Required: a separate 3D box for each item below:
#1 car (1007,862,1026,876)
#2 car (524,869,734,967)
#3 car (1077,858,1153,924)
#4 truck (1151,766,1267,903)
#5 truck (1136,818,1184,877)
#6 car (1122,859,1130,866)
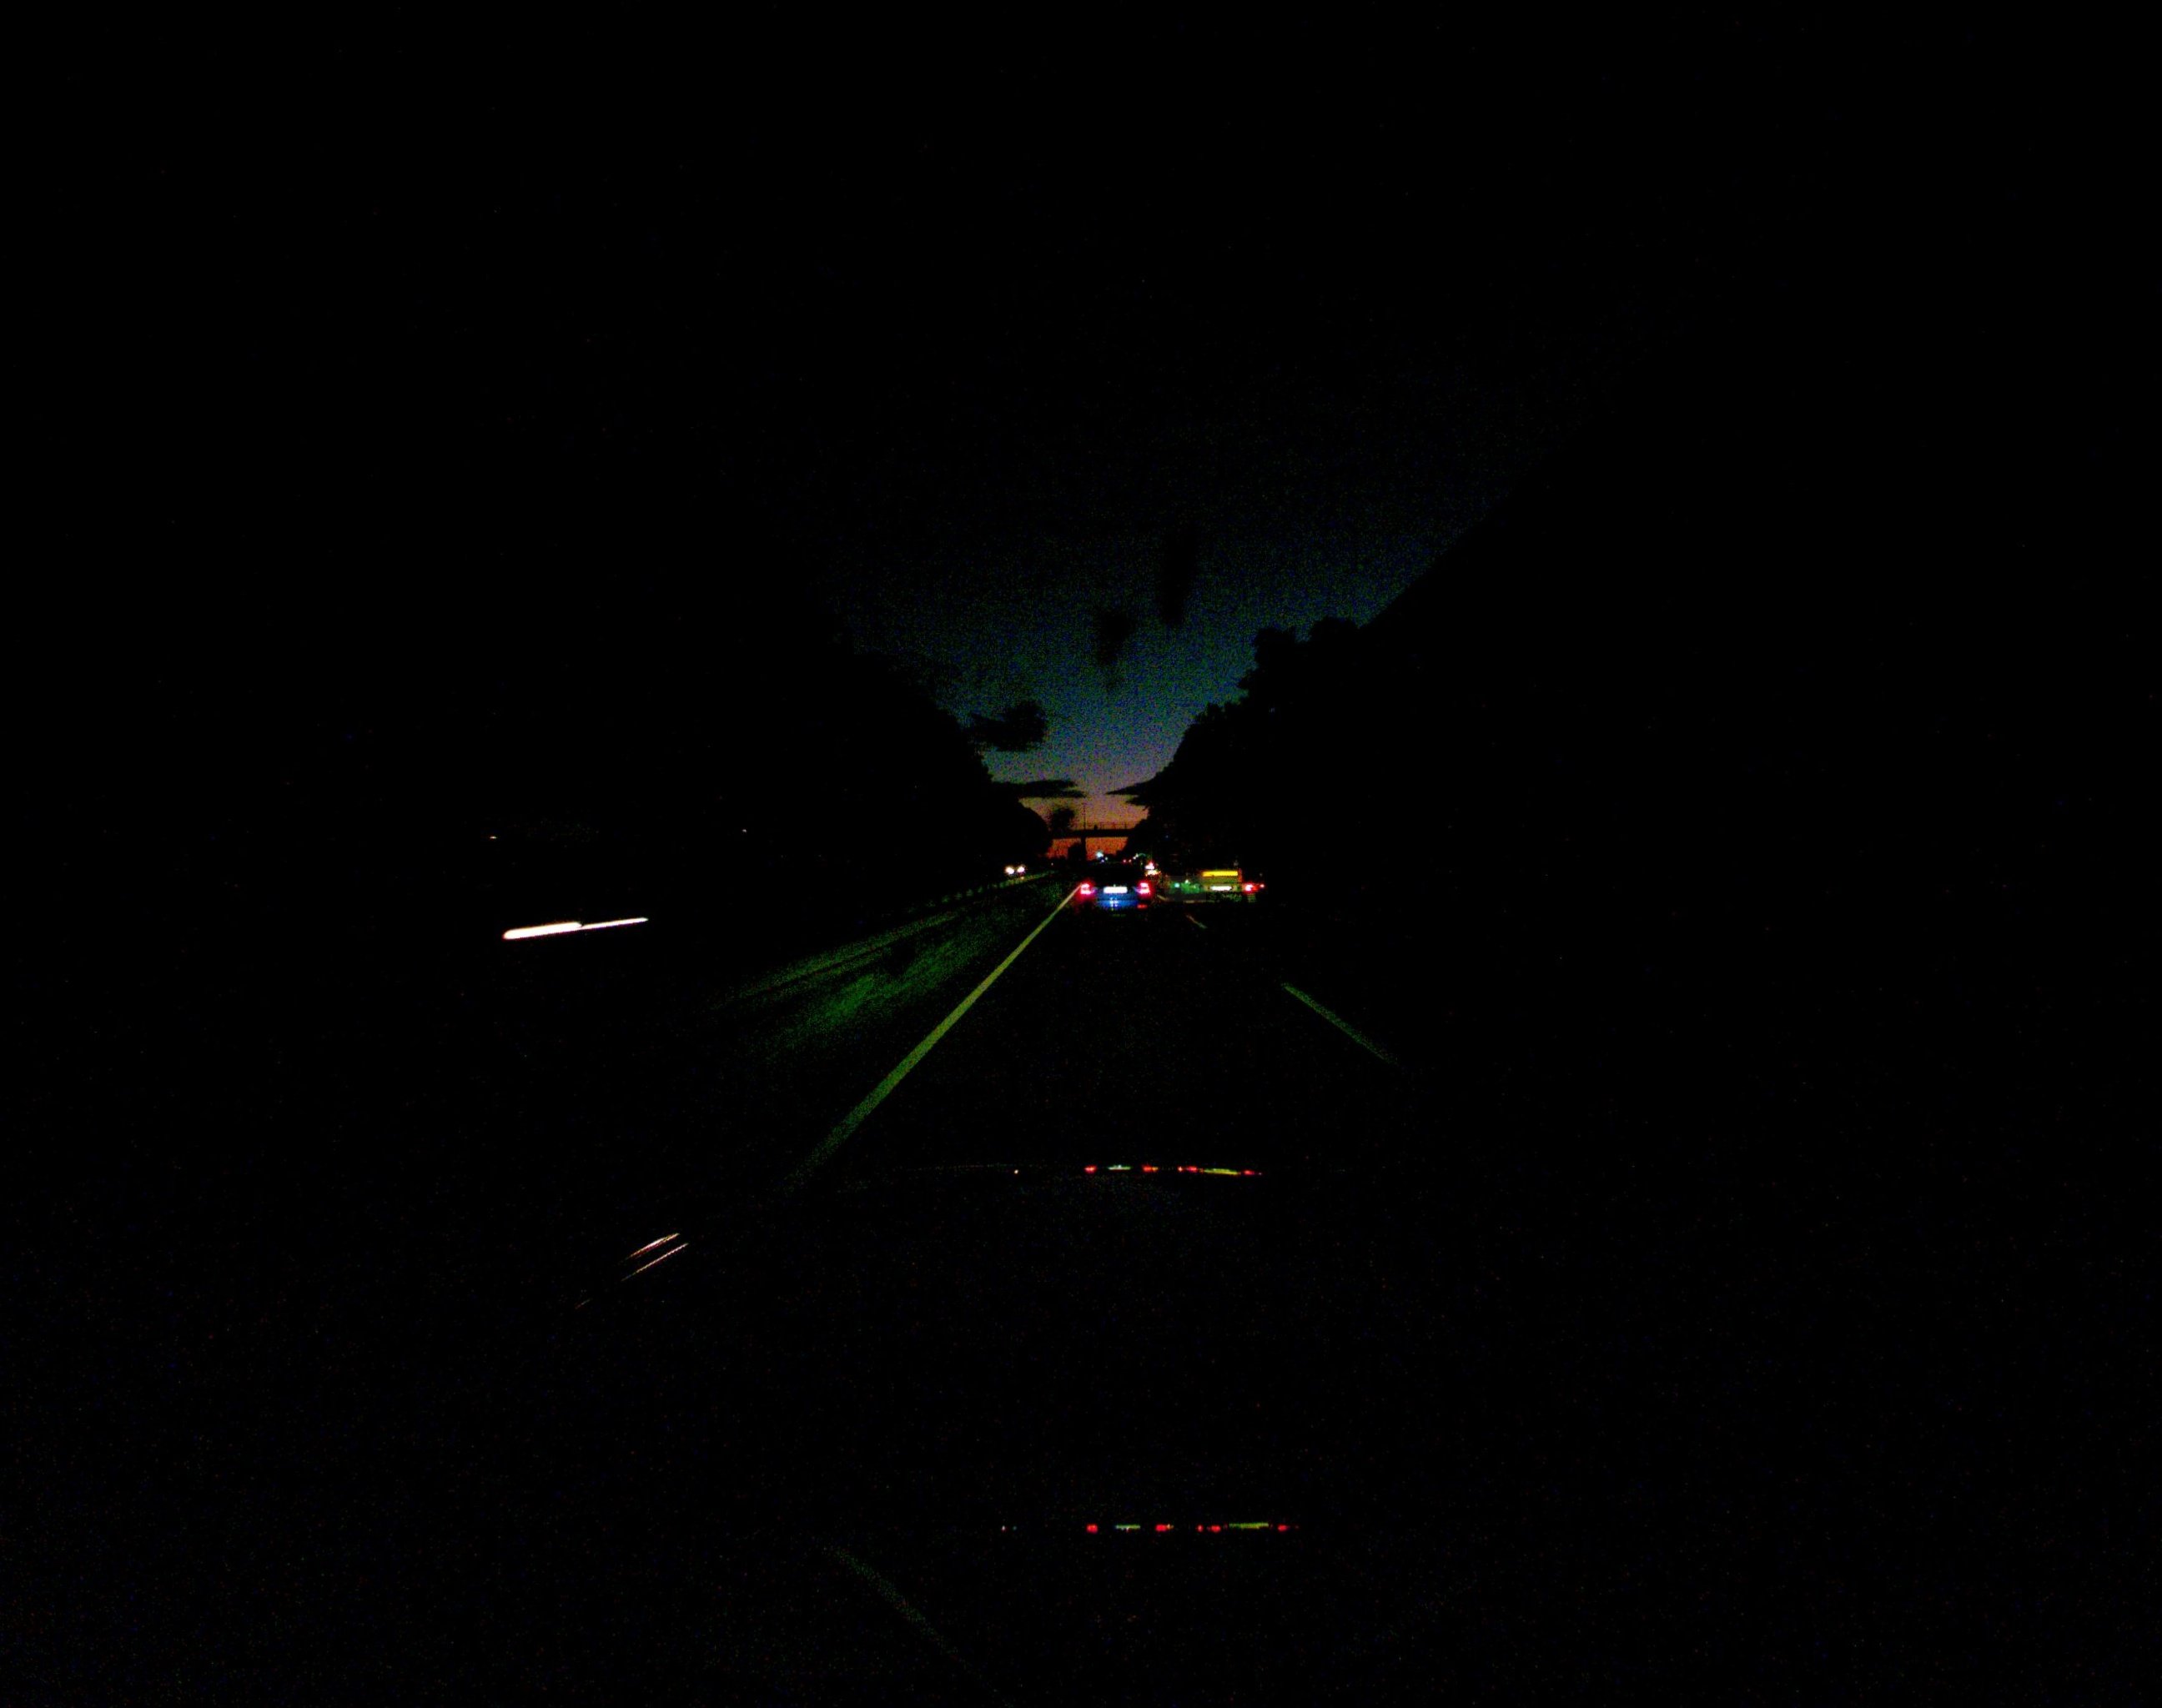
[{"bbox_3d":[-7.154,1.651,90.772,1.611,1.507,3.870,-1,-1,2],"label":"car"},{"bbox_3d":[-8.586,1.122,15.942,1.676,1.587,4.168,-1,0,2],"label":"car"},{"bbox_3d":[0.810,0.848,20.126,1.689,1.452,3.915,-1,-1,2],"label":"car"},{"bbox_3d":[4.424,-0.505,31.050,2.677,4.106,13.145,-1,-1,2],"label":"truck"},{"bbox_3d":[5.997,-0.396,63.940,2.872,4.106,12.687,-1,-1,2],"label":"truck"},{"bbox_3d":[10.083,1.969,181.158,1.689,1.452,3.915,-1,-1,2],"label":"car"}]
